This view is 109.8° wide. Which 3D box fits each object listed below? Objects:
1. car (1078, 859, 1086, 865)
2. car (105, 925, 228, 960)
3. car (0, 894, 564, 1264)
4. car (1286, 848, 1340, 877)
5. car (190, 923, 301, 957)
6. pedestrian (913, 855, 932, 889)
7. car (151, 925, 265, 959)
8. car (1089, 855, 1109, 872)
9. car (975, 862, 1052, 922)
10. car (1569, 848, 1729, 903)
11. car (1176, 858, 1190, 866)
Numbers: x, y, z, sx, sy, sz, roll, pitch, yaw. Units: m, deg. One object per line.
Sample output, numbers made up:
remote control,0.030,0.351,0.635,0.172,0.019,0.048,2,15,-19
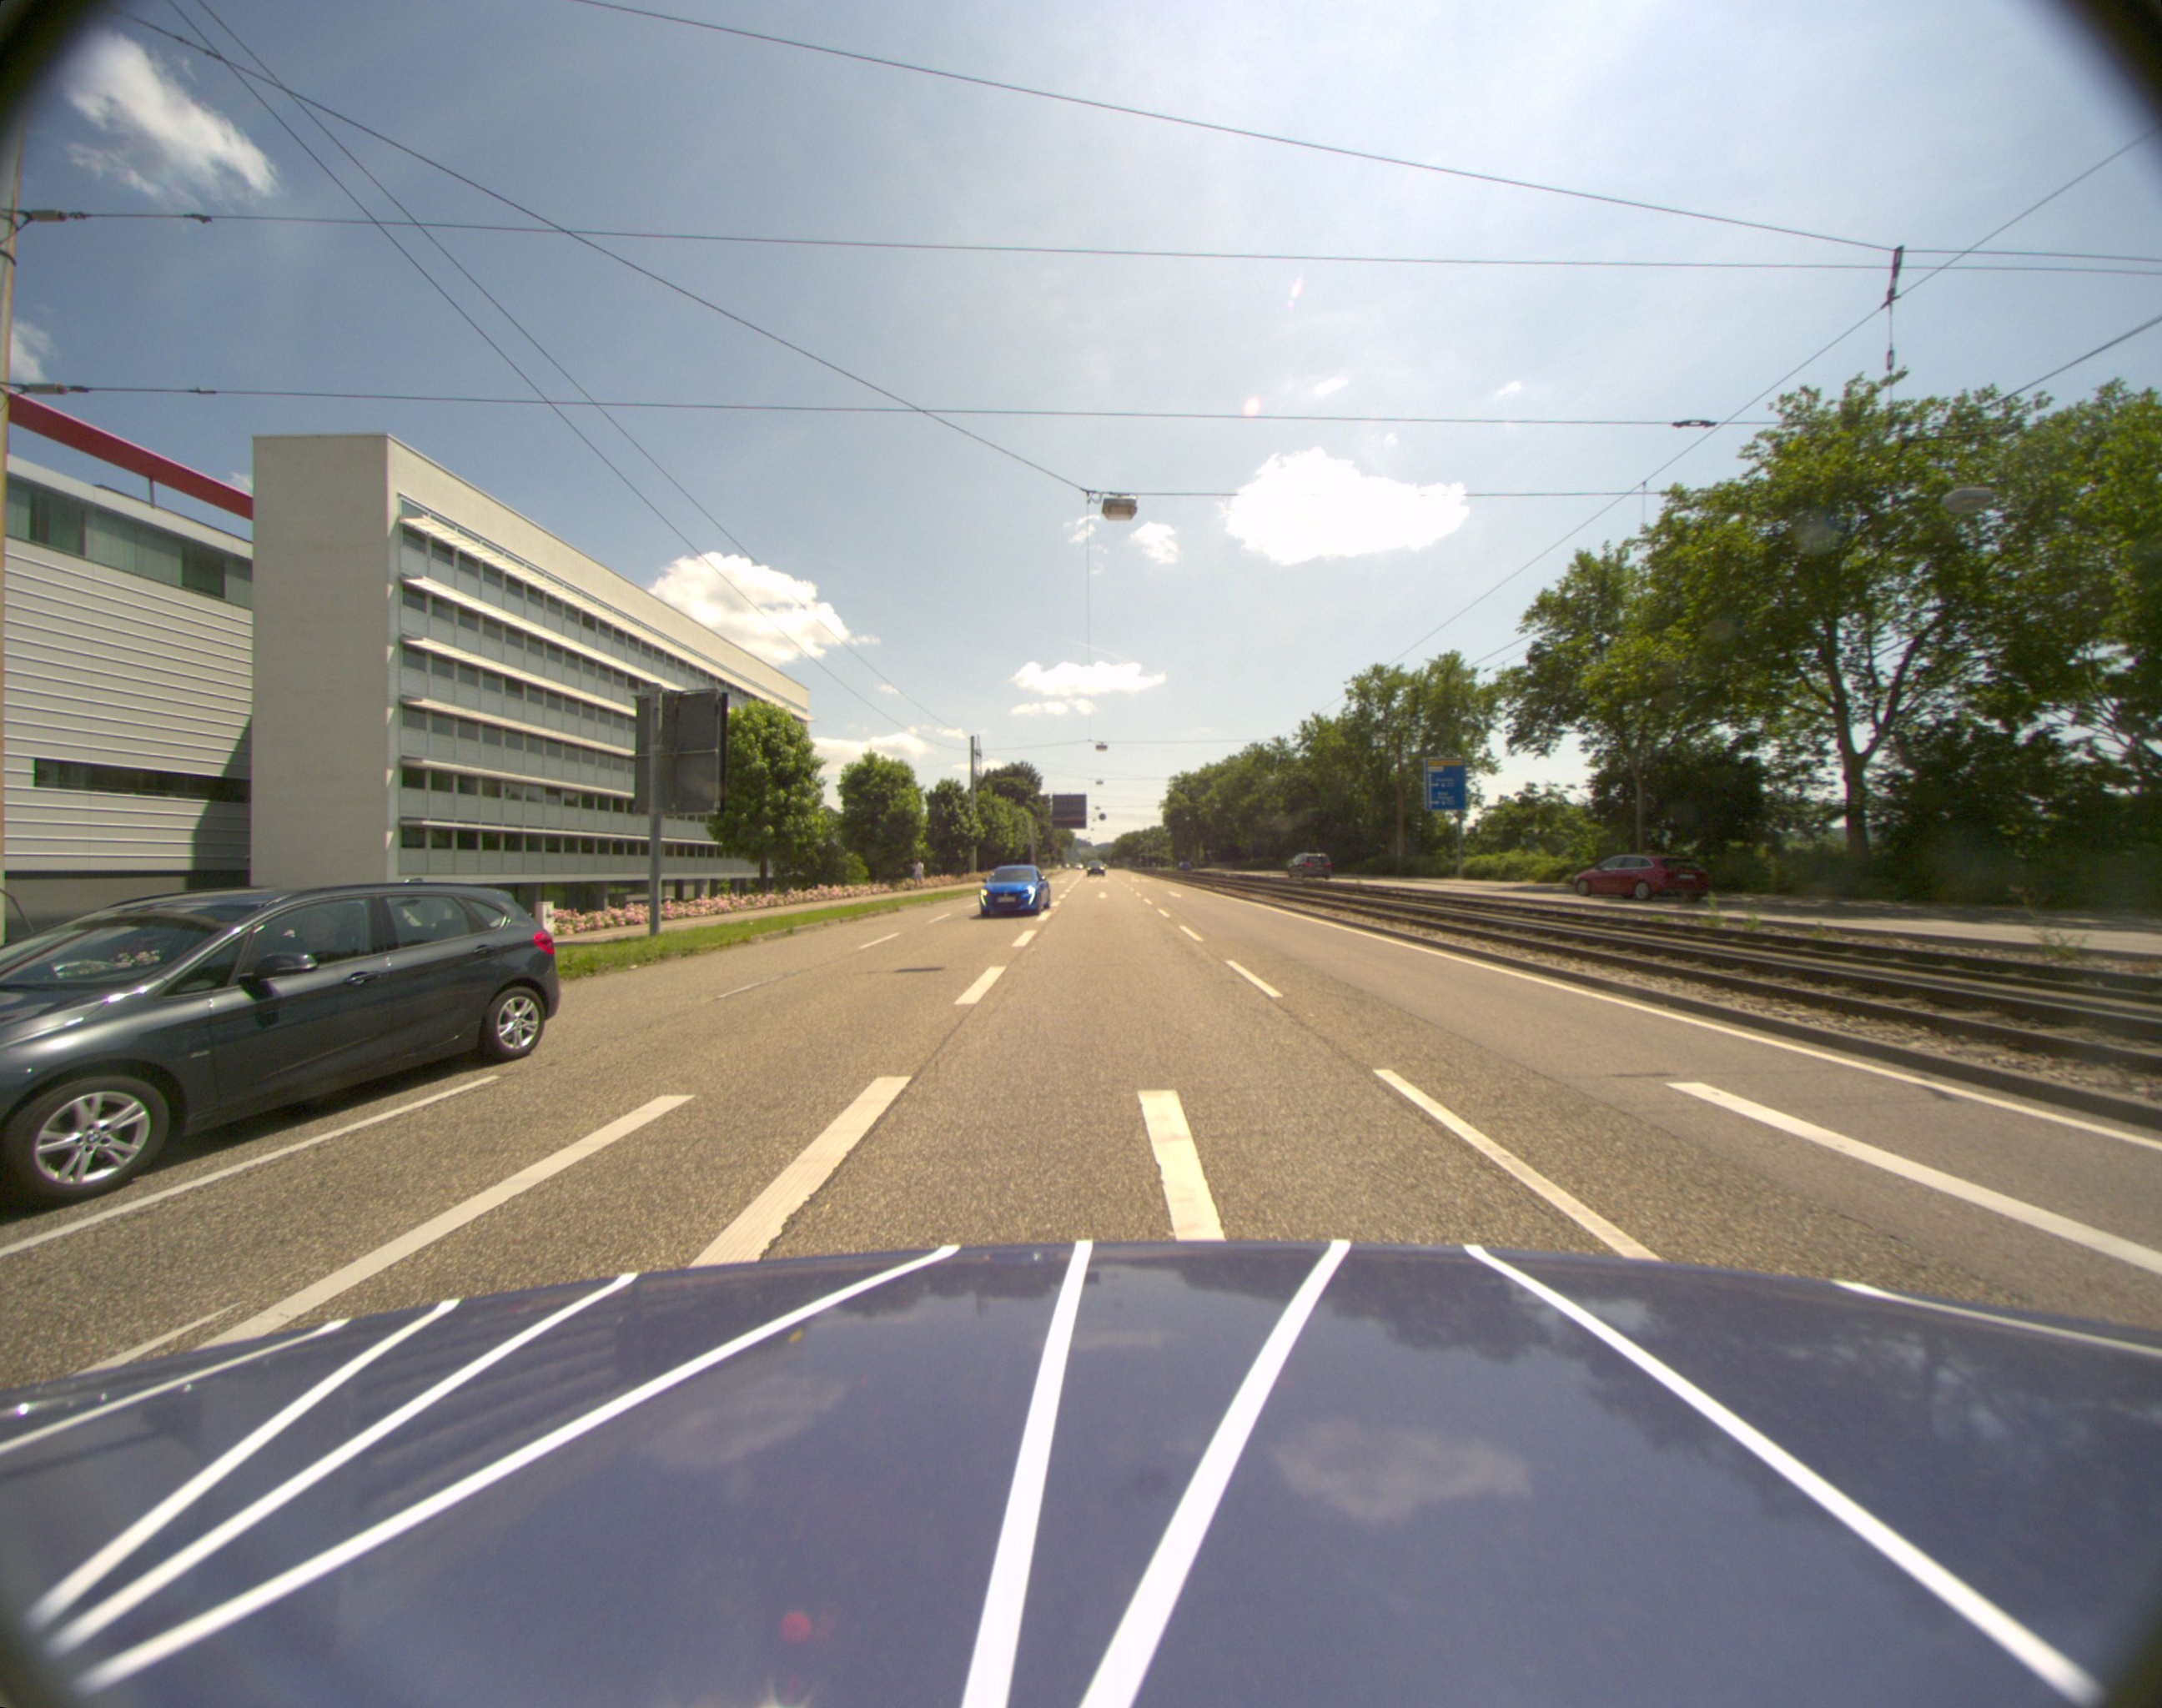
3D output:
car,0.282,1.912,184.913,1.896,1.331,4.000,-2,0,1
car,-50.856,4.875,42.384,1.998,1.438,4.000,-2,0,1
car,-5.746,1.140,4.923,1.765,1.517,4.100,-1,0,4
car,15.398,0.564,50.718,1.999,1.820,4.969,1,0,-1
car,-45.933,4.698,41.894,1.609,1.314,4.000,-2,0,1
pedestrian,-8.933,0.994,42.762,0.758,1.838,0.931,-2,0,3
car,-48.292,4.823,42.149,1.648,1.377,4.000,-2,0,1
car,1.778,0.942,76.754,1.898,1.564,4.511,-2,0,1
car,-1.947,1.077,23.069,1.842,1.446,3.999,-3,1,1
car,18.858,0.664,25.545,1.999,1.660,4.468,1,0,-1
car,18.212,1.394,135.851,1.803,1.495,4.735,1,0,-1
